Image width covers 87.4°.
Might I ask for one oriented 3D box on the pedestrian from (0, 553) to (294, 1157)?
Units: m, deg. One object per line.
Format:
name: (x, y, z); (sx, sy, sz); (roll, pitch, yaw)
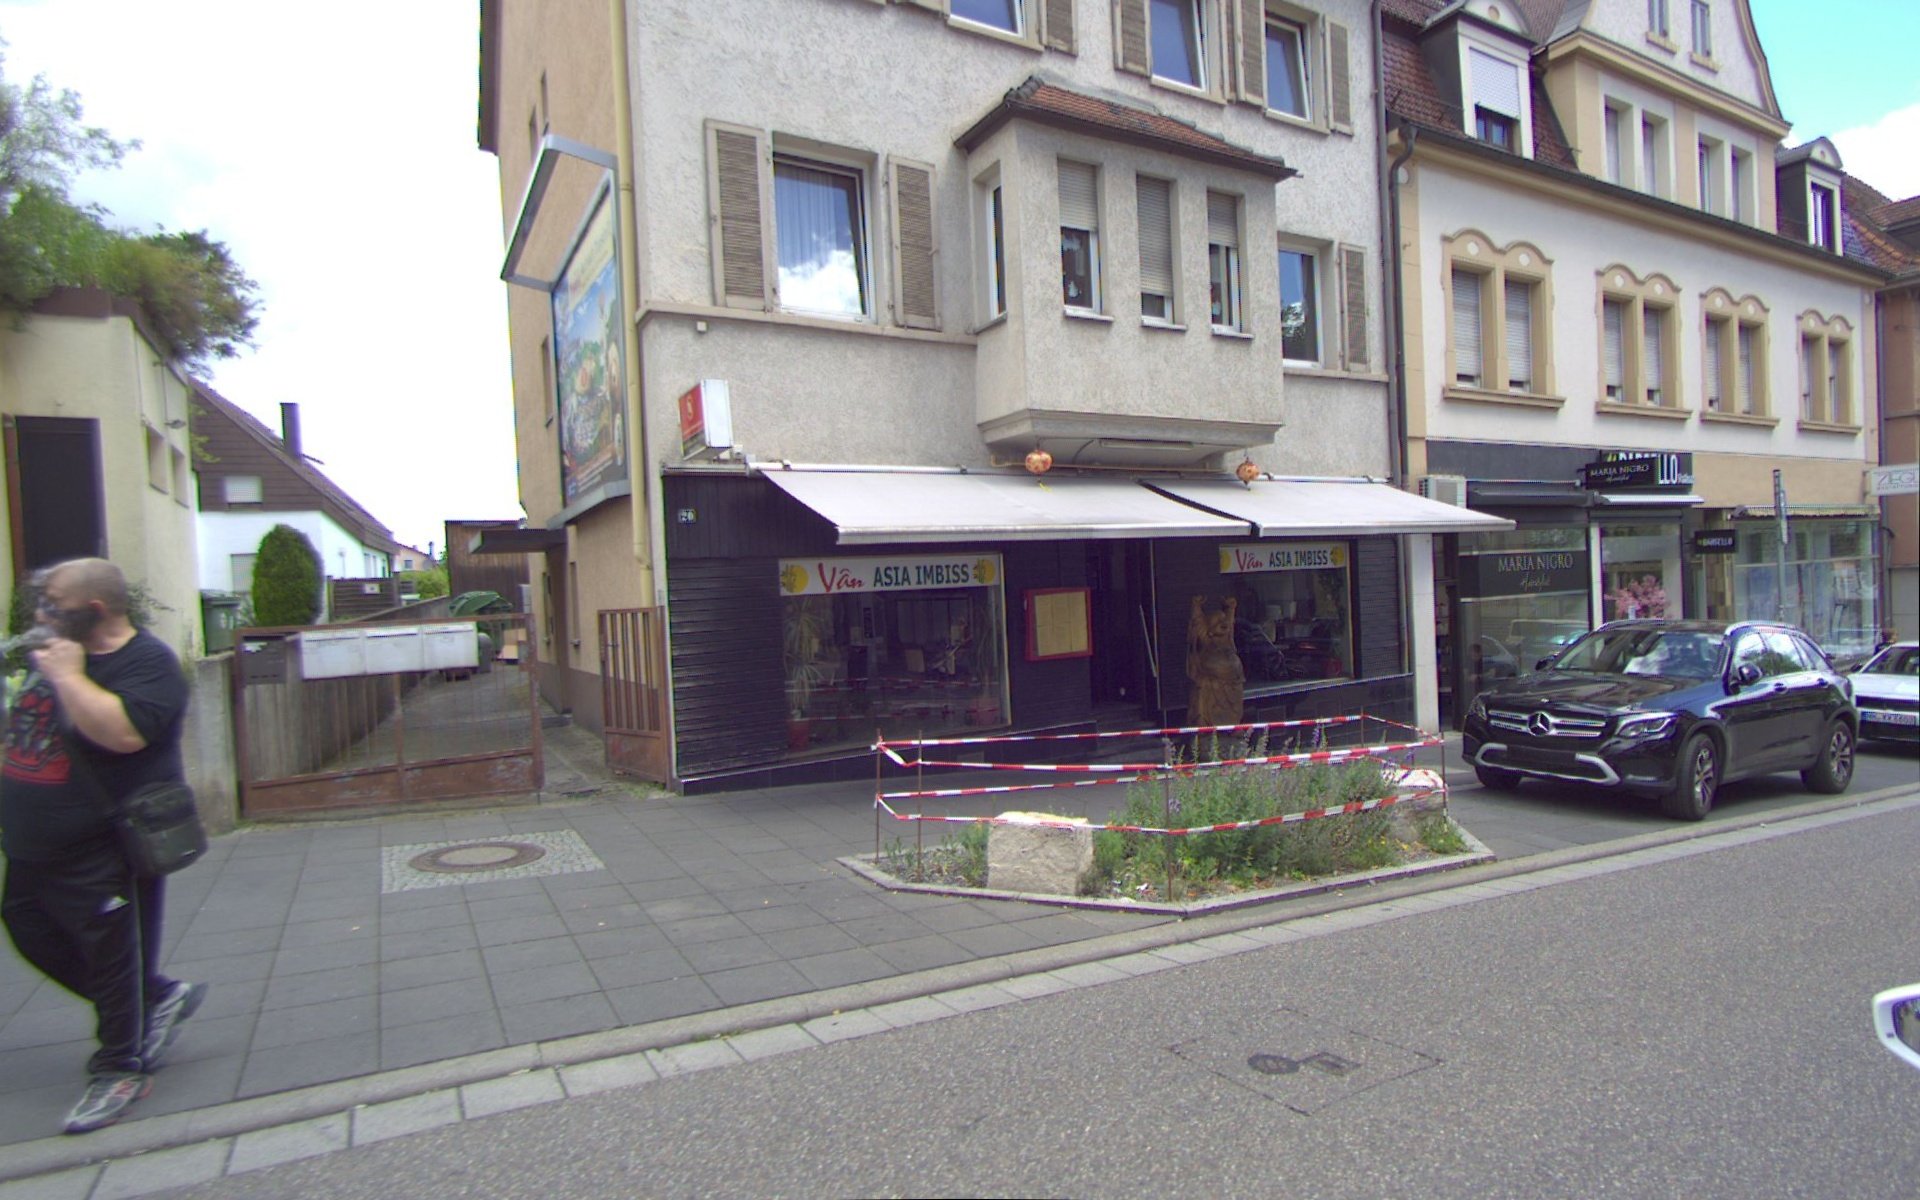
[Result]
pedestrian: (-2.689, 0.721, 3.260); (0.854, 1.694, 0.733); (0, 0, -33)

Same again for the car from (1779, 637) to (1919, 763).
car: (13.222, 1.271, 13.615); (4.211, 1.449, 1.918); (1, 0, -30)

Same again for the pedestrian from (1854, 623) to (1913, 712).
pedestrian: (17.005, 1.224, 18.493); (0.853, 1.596, 0.544); (0, -1, -31)

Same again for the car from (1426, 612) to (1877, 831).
car: (6.787, 0.984, 9.739); (4.587, 1.643, 1.916); (1, 0, -32)
